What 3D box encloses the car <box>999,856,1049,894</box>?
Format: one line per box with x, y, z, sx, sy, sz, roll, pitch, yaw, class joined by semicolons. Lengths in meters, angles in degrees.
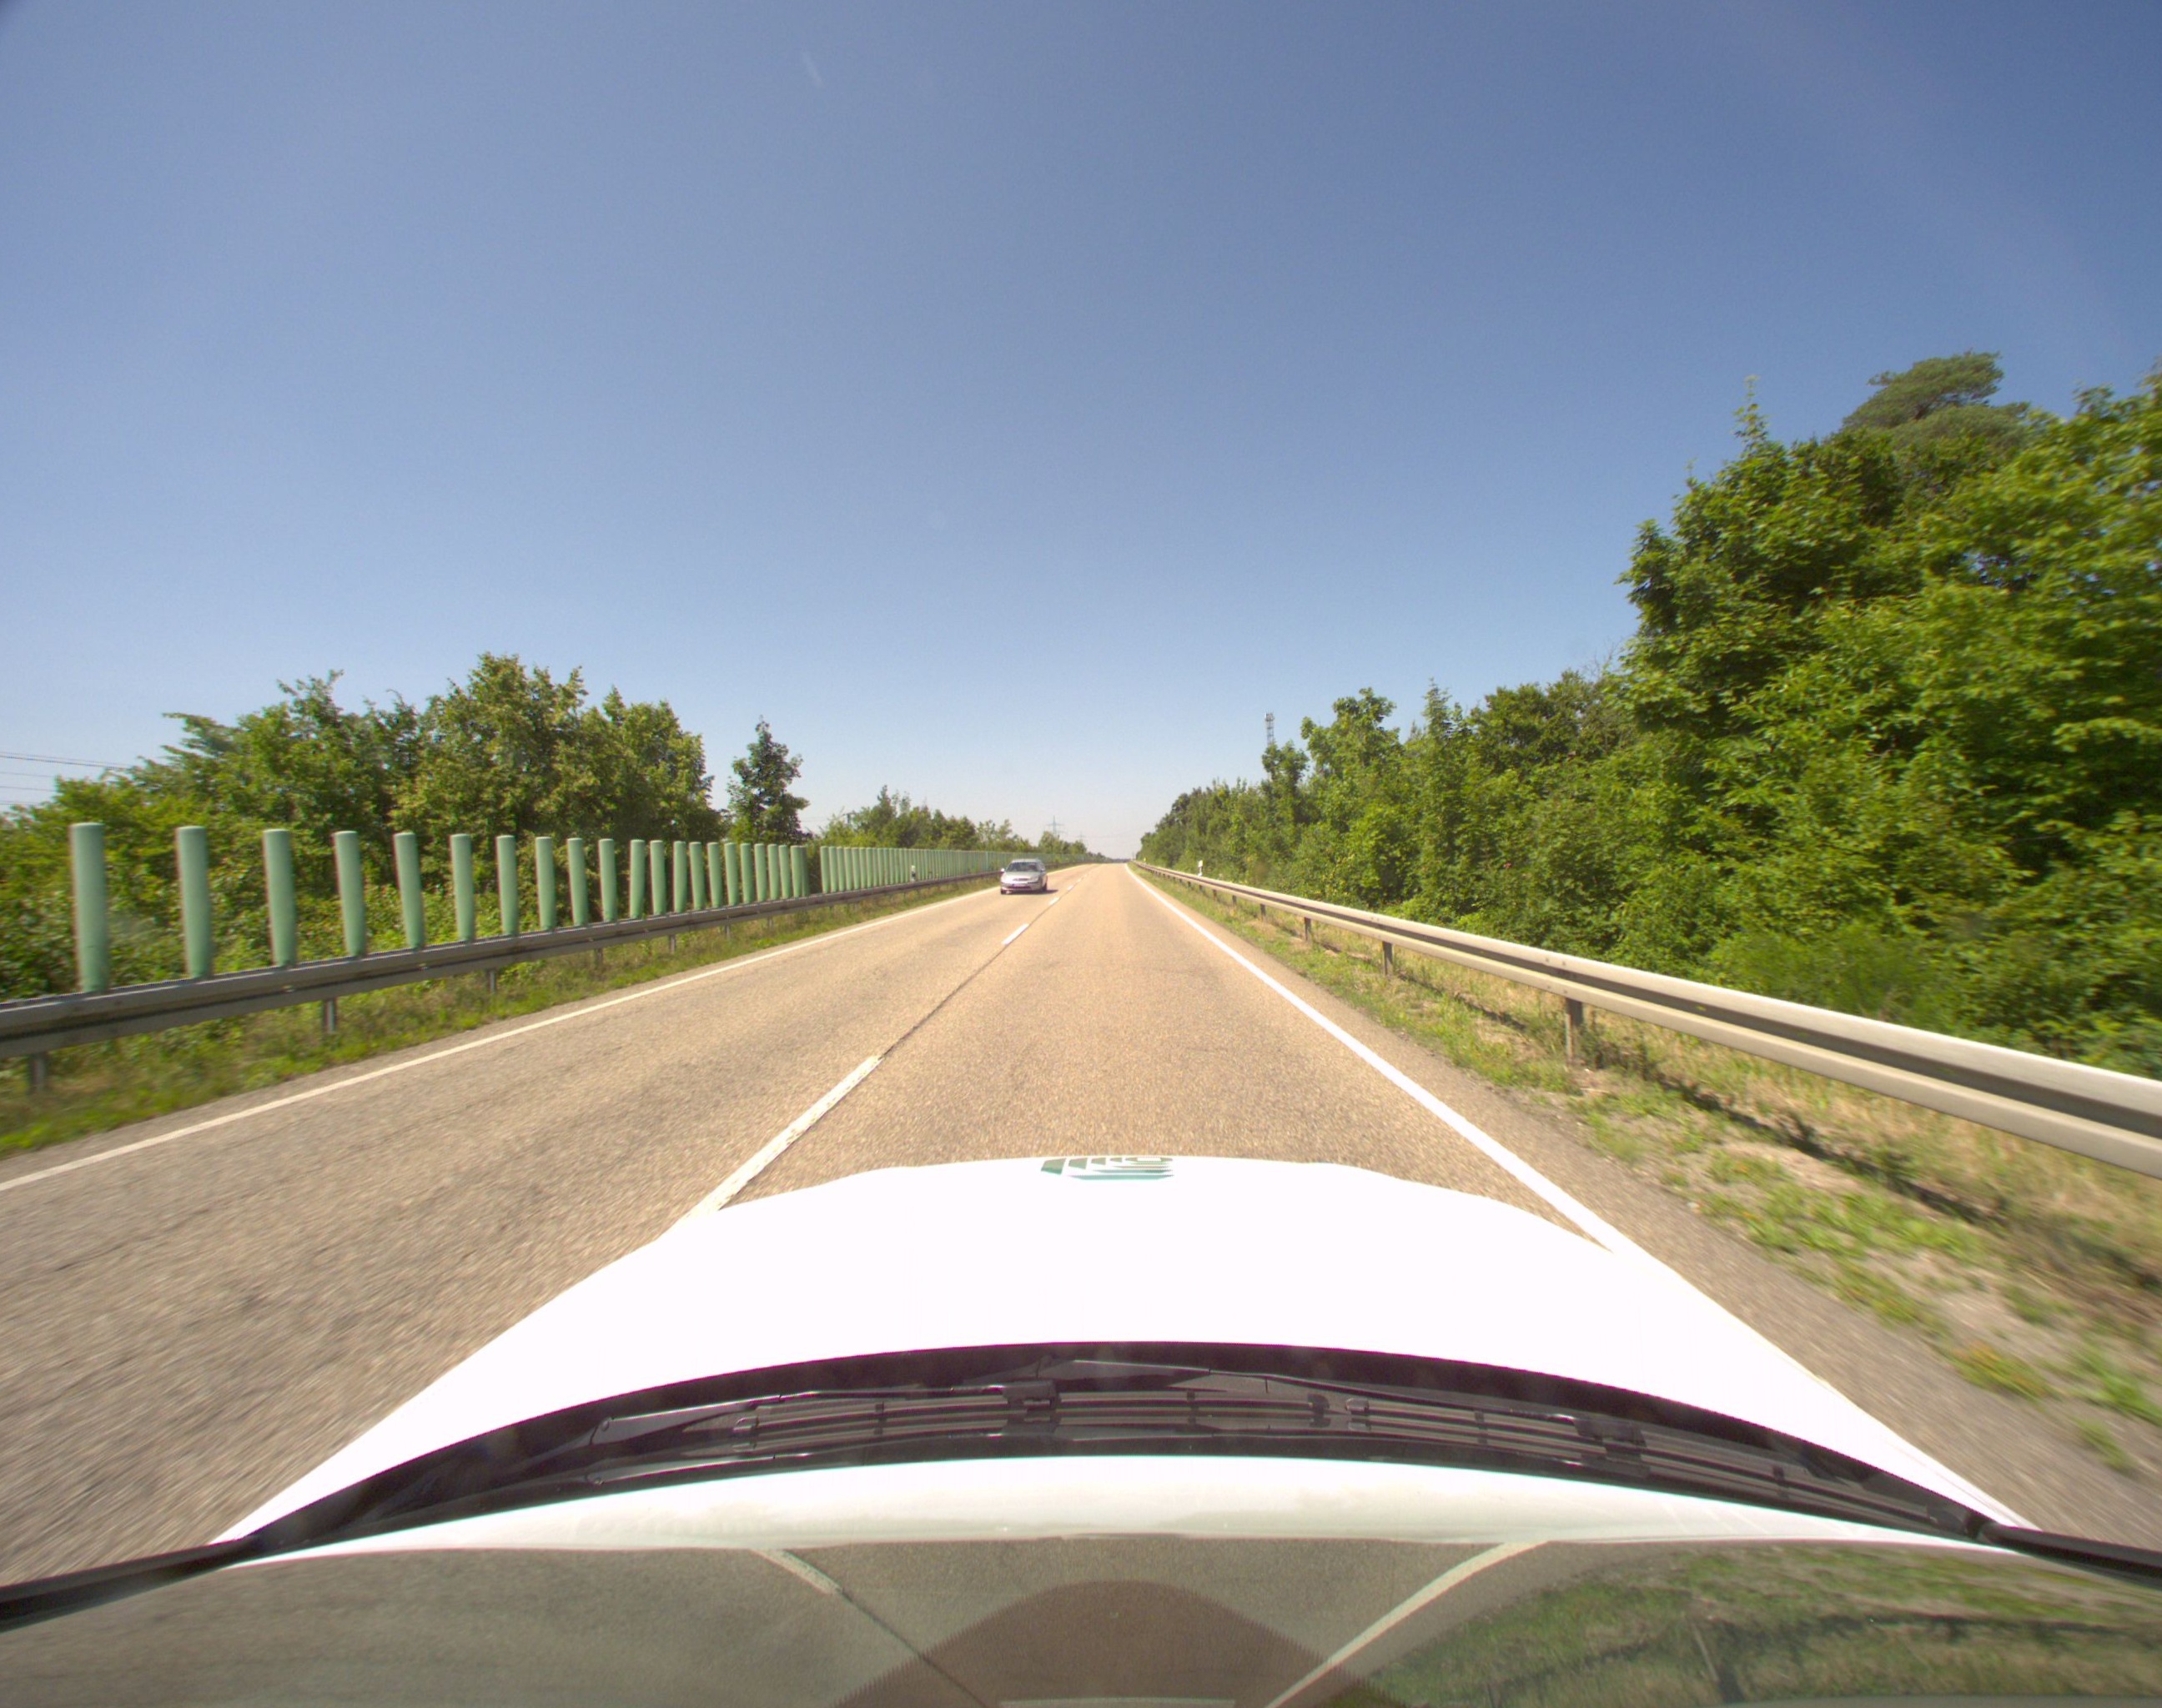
-2.422;0.863;35.432;1.714;1.501;4.249;-1;0;1;car
